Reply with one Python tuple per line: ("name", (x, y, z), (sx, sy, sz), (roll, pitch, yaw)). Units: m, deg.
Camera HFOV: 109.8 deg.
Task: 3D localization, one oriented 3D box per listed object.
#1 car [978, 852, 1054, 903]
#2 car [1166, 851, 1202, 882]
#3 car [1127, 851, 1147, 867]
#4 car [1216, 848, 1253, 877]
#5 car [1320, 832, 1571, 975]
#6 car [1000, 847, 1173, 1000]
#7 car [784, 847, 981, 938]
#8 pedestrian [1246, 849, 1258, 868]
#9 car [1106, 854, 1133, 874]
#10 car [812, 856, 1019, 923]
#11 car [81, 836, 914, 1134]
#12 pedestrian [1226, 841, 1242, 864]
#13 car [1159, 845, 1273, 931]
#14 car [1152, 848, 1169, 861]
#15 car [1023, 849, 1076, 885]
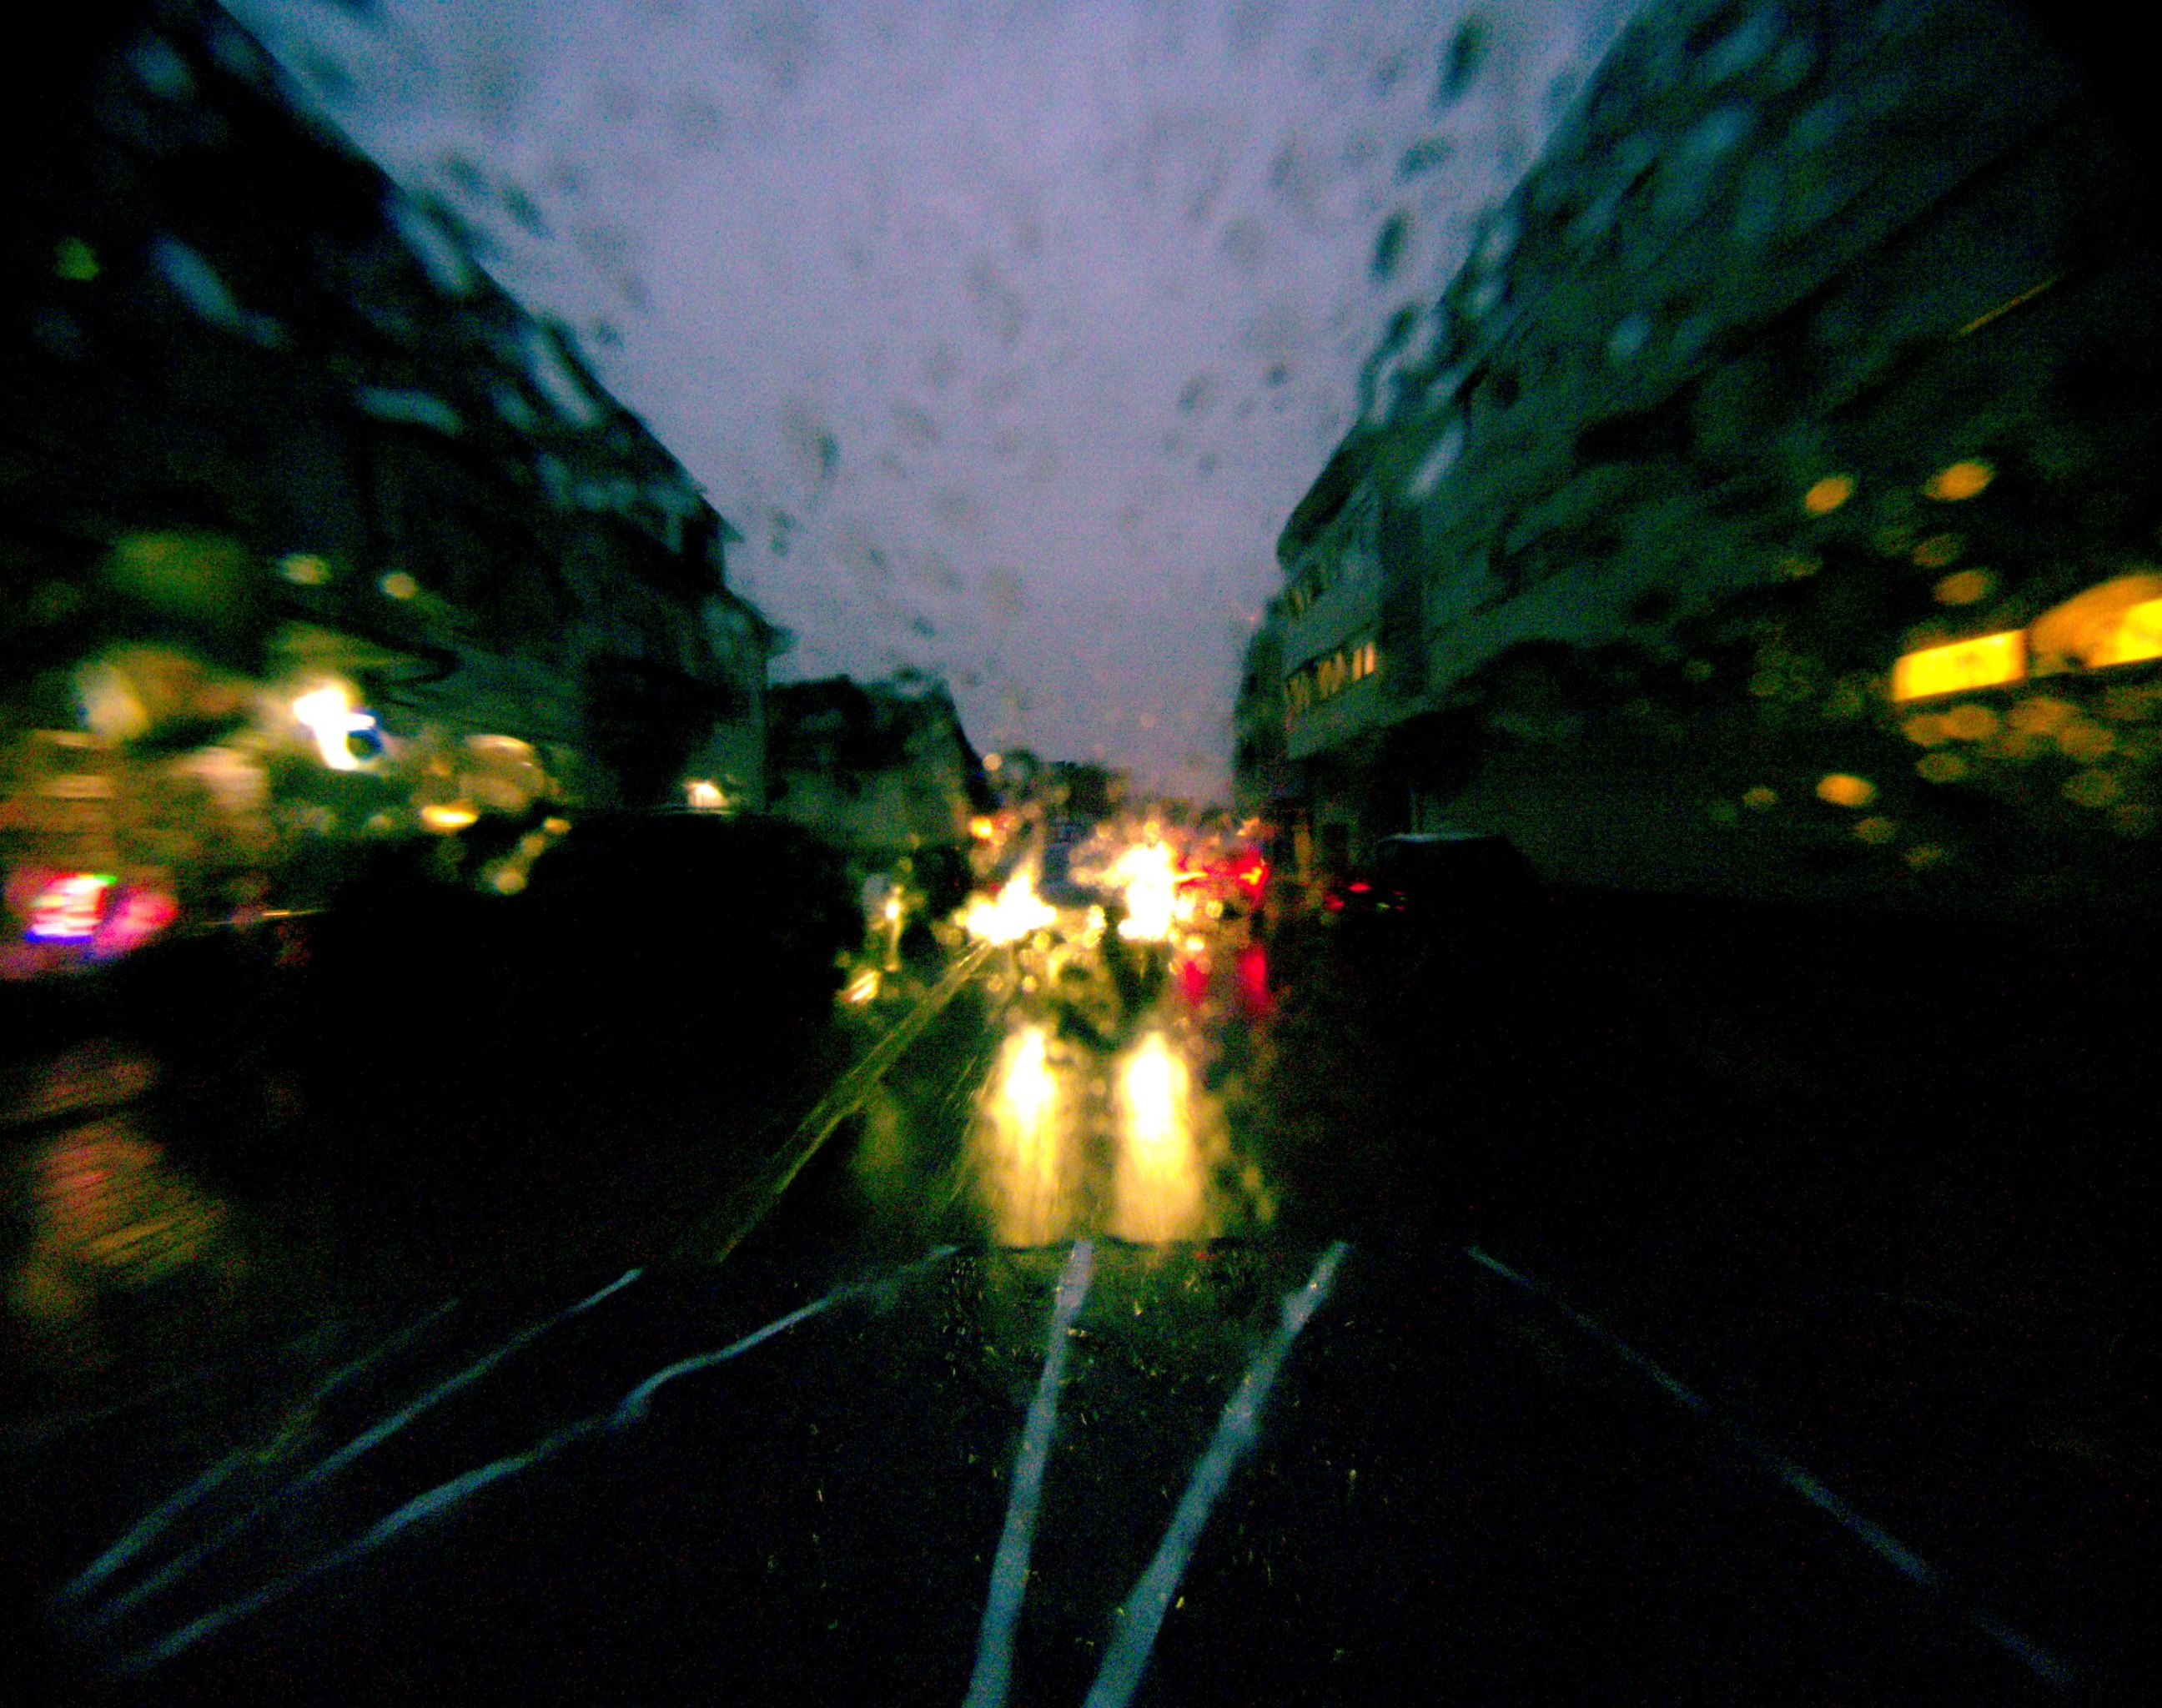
("car", (-2.063, 0.706, 25.581), (1.886, 1.538, 4.672), (0, 1, 3))
("car", (5.393, 0.633, 40.088), (1.641, 1.527, 3.407), (-2, 1, 4))
("car", (5.808, 0.474, 78.659), (1.797, 1.502, 4.002), (1, 1, 9))
("car", (8.292, 0.424, 41.340), (1.678, 1.438, 4.430), (0, 1, 8))
("car", (4.972, 0.580, 11.011), (1.798, 1.633, 3.812), (-2, 0, 1))
("car", (0.063, 0.769, 10.624), (1.879, 1.623, 3.999), (-3, 1, 0))
("car", (-3.824, 0.727, 15.126), (3.514, 1.671, 1.715), (1, 1, -4))
("pedestrian", (12.107, 0.346, 53.817), (0.757, 1.303, 0.829), (-2, 1, 7))
("car", (3.112, 0.782, 60.615), (1.797, 1.502, 4.002), (1, 1, 9))
("car", (-3.788, 0.804, 17.959), (4.478, 1.465, 1.898), (0, 1, 0))
("car", (-3.753, 0.785, 5.694), (4.616, 1.765, 1.944), (-1, 1, -3))
("pedestrian", (12.610, -0.118, 62.778), (1.200, 1.927, 0.977), (0, 1, 16))
("car", (2.761, 0.625, 16.472), (1.815, 1.587, 4.399), (-1, 0, 2))
("car", (9.930, 0.083, 94.486), (1.797, 1.502, 4.003), (1, 1, 10))
("car", (-1.363, 0.546, 34.827), (1.798, 1.452, 4.532), (1, 1, 6))
